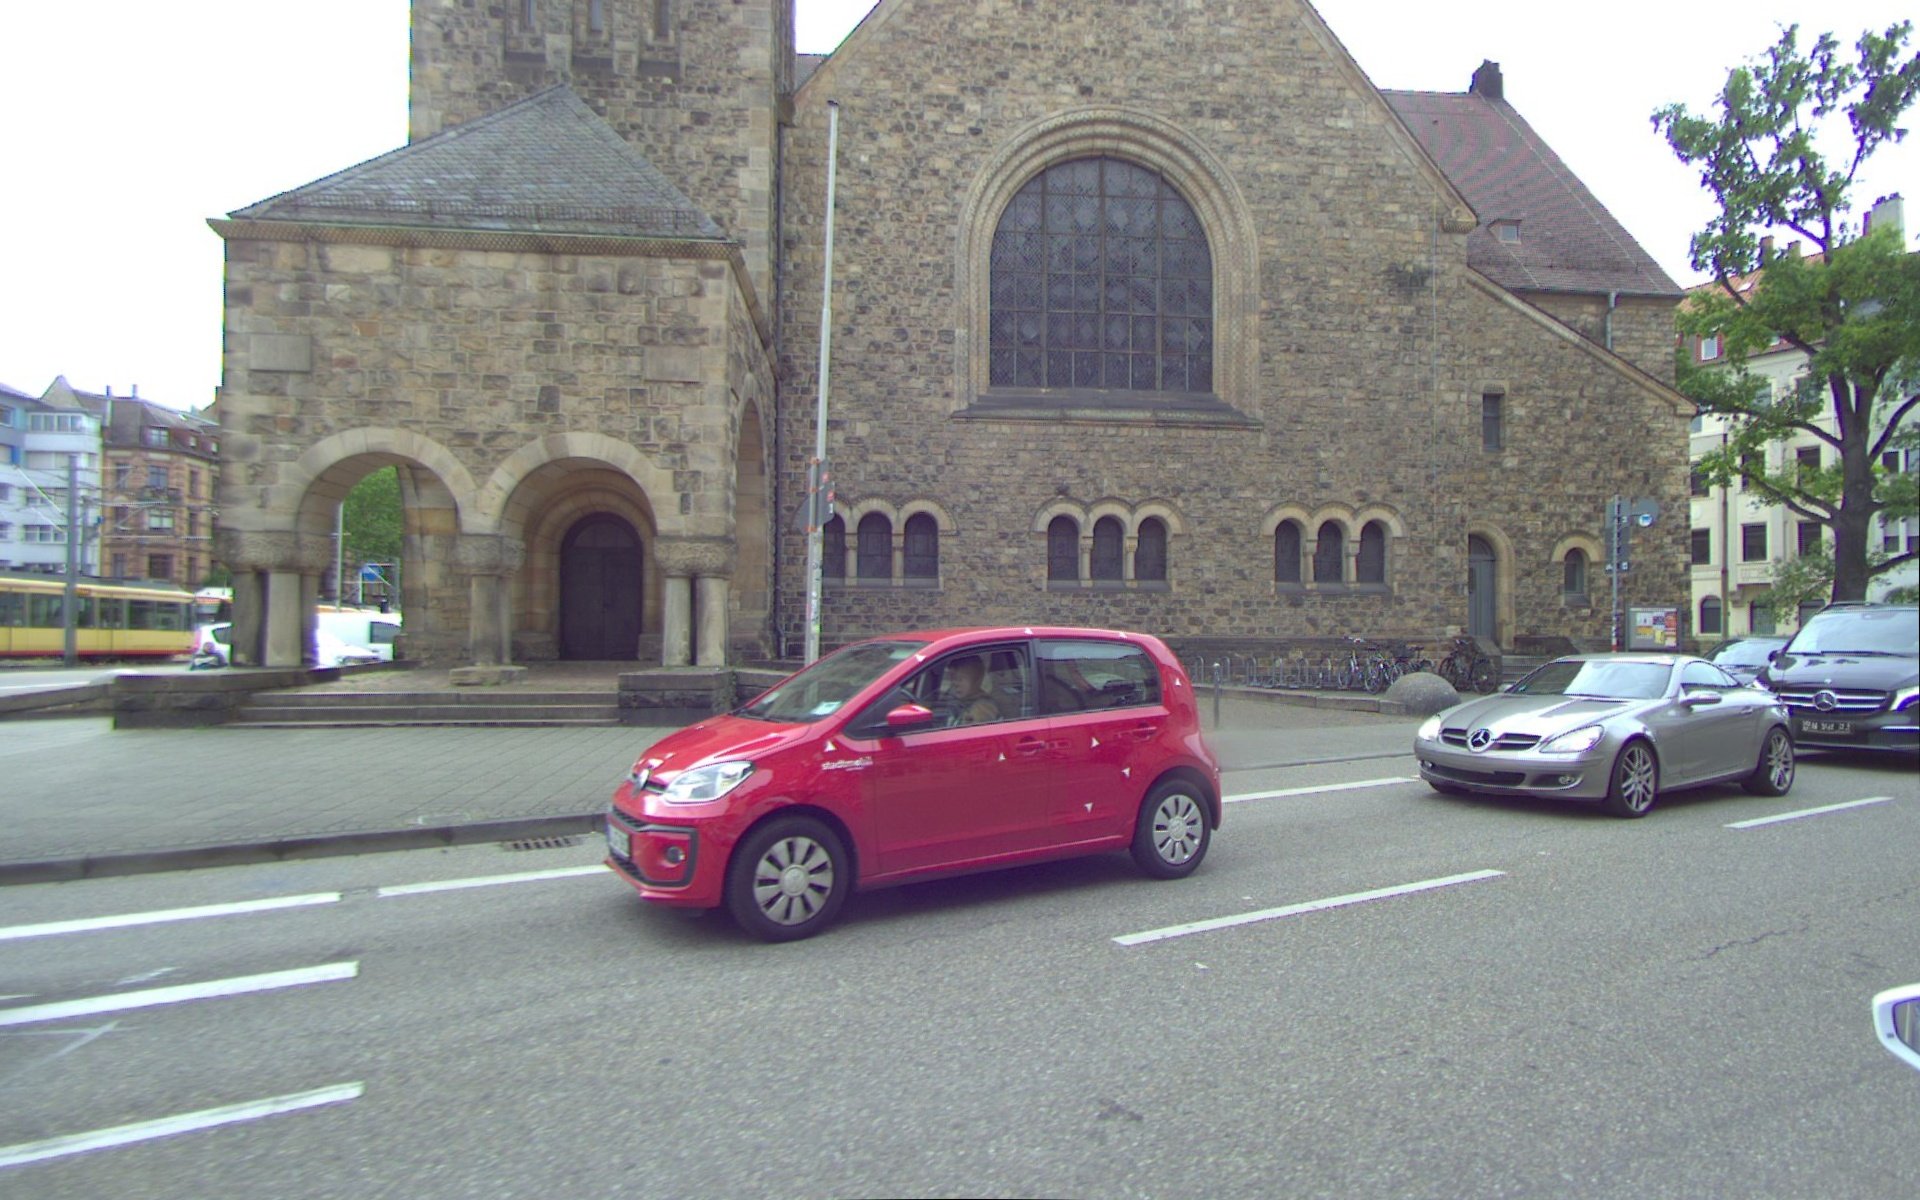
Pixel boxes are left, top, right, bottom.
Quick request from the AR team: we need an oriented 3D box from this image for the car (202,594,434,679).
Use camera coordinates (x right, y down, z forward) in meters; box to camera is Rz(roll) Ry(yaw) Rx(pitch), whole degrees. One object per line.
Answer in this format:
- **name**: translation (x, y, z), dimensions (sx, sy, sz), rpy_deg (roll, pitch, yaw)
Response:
- **car**: translation (-15.945, 0.906, 25.147), dimensions (4.538, 1.906, 1.661), rpy_deg (2, -1, -5)

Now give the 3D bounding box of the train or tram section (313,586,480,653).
- **train or tram section**: translation (-39.318, 1.458, 71.291), dimensions (3.458, 4.146, 16.199), rpy_deg (2, -2, -4)

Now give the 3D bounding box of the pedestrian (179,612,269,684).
- **pedestrian**: translation (-13.334, 0.866, 18.228), dimensions (0.724, 1.244, 1.063), rpy_deg (2, -2, 10)

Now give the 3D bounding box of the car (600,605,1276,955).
- **car**: translation (-0.035, 0.863, 5.914), dimensions (3.676, 1.476, 1.594), rpy_deg (2, -4, -31)

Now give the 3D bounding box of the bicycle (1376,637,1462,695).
- **bicycle**: translation (10.030, 1.425, 22.014), dimensions (0.730, 1.182, 1.777), rpy_deg (1, -1, -17)

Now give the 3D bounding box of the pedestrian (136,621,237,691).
- **pedestrian**: translation (-14.240, 1.012, 18.543), dimensions (0.725, 1.207, 1.492), rpy_deg (2, -2, -5)

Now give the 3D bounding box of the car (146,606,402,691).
- **car**: translation (-14.834, 1.048, 21.916), dimensions (4.280, 1.657, 1.661), rpy_deg (2, -2, -5)

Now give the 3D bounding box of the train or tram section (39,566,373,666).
- **train or tram section**: translation (-38.191, 0.977, 53.089), dimensions (3.558, 4.146, 19.941), rpy_deg (2, -2, -4)

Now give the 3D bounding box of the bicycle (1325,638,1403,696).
- **bicycle**: translation (8.648, 1.415, 21.559), dimensions (0.558, 1.140, 1.778), rpy_deg (1, -1, -17)

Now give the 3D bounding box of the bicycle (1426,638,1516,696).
- **bicycle**: translation (11.060, 1.426, 21.805), dimensions (0.730, 1.167, 1.777), rpy_deg (1, -1, -17)

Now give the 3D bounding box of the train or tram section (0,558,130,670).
- **train or tram section**: translation (-37.097, 0.414, 35.614), dimensions (3.513, 4.146, 15.033), rpy_deg (2, -2, -4)

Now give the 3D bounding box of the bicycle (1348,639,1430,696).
- **bicycle**: translation (9.269, 1.435, 21.781), dimensions (0.650, 1.145, 1.777), rpy_deg (1, -1, -17)

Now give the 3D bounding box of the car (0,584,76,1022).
- **car**: translation (-5.088, 0.703, 2.644), dimensions (3.847, 1.548, 1.642), rpy_deg (1, -3, -30)

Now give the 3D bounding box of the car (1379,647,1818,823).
- **car**: translation (5.898, 1.113, 9.207), dimensions (3.993, 1.303, 1.698), rpy_deg (2, -4, -29)

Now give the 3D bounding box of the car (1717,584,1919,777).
- **car**: translation (11.675, 0.879, 12.353), dimensions (5.221, 1.980, 1.903), rpy_deg (1, -1, -30)
